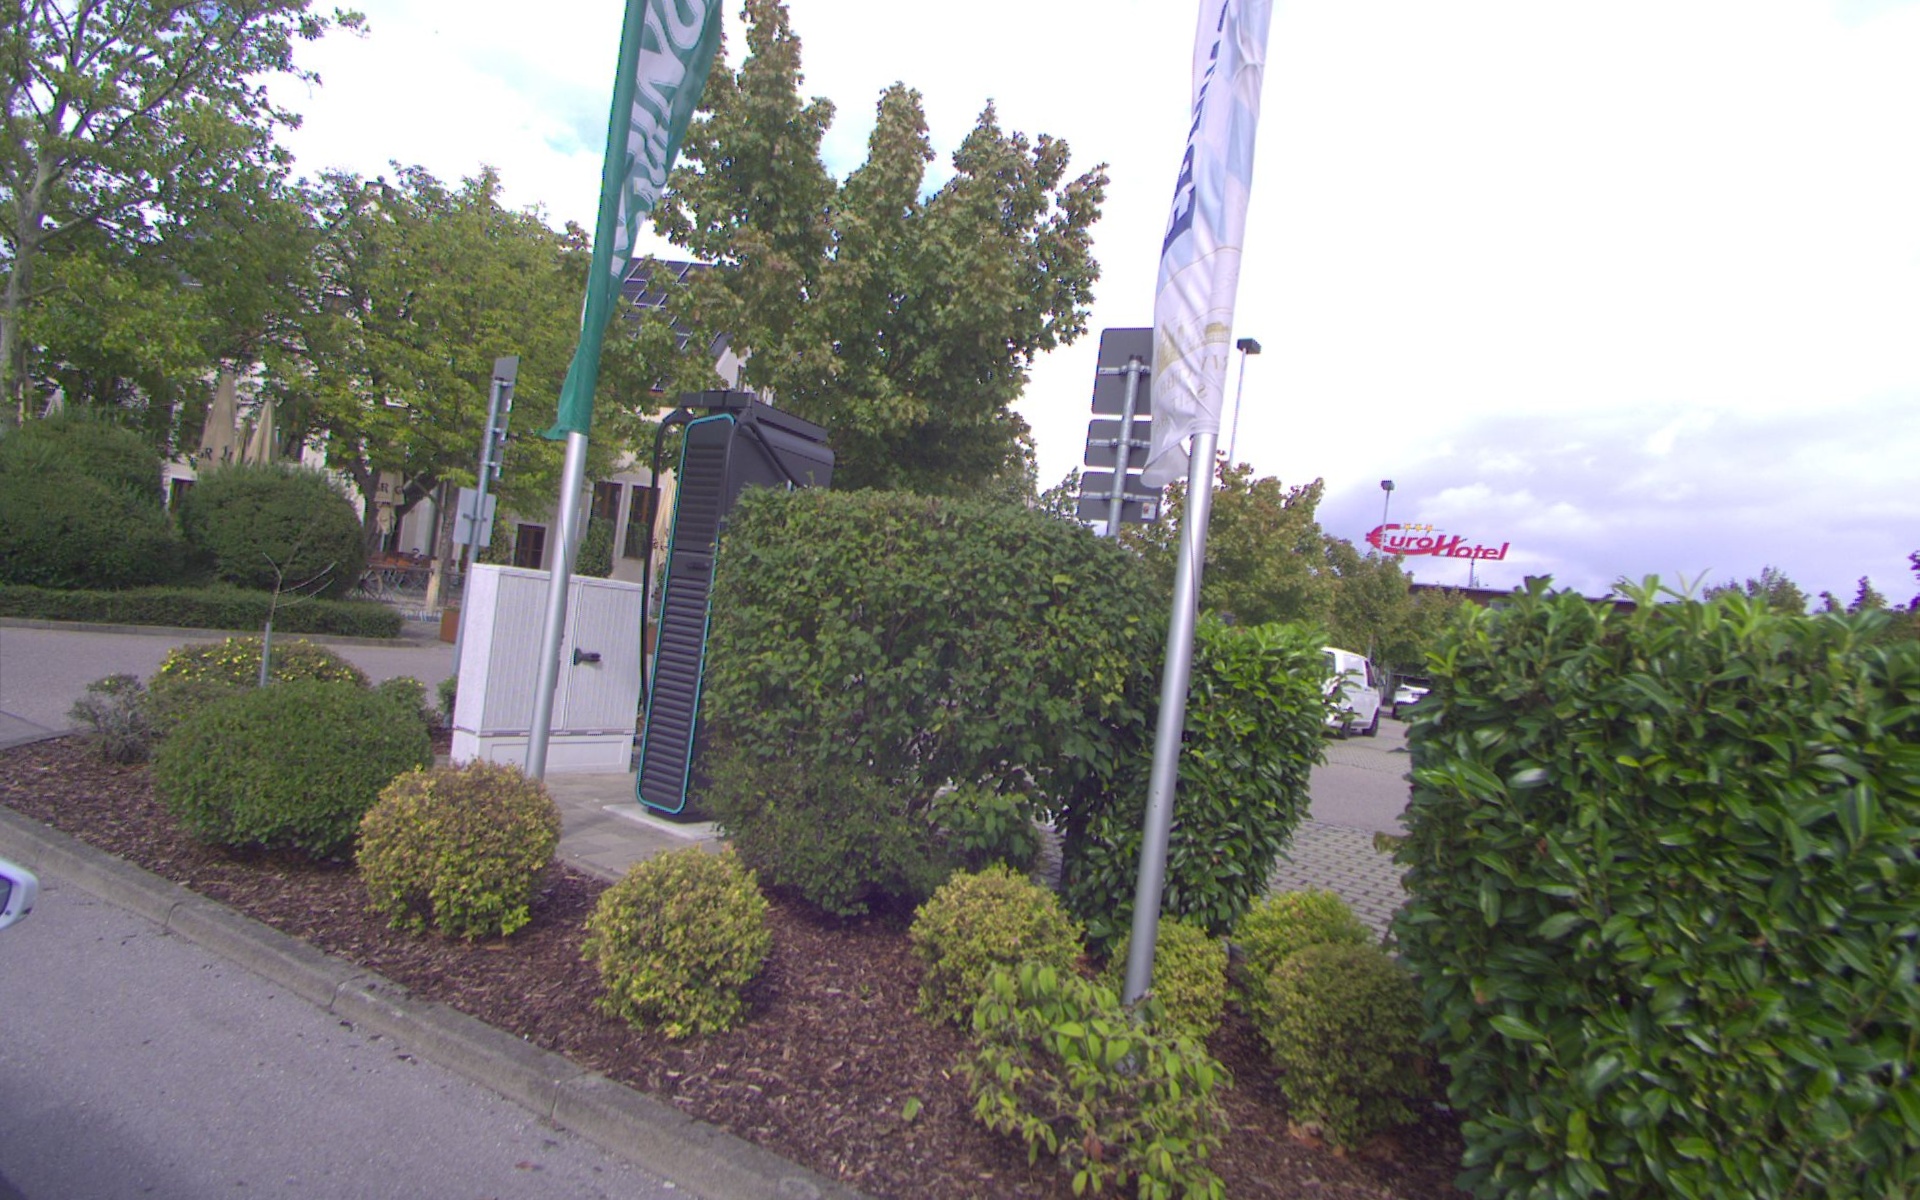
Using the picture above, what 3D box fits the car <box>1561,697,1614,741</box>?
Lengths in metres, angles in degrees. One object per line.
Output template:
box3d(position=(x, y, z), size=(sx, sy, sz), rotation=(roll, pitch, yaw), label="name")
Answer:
box3d(position=(29.580, 5.587, 47.515), size=(1.737, 1.740, 3.997), rotation=(7, -2, 29), label="car")

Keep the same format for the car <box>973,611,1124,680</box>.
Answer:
box3d(position=(3.132, 1.617, 36.180), size=(4.996, 1.731, 1.747), rotation=(7, -1, 33), label="car")

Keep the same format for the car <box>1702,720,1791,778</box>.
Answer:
box3d(position=(24.054, 4.512, 30.868), size=(1.503, 1.390, 3.475), rotation=(7, -2, 29), label="car")

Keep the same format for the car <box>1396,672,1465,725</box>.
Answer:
box3d(position=(16.659, 3.487, 35.505), size=(1.792, 1.517, 3.843), rotation=(7, -2, 29), label="car")

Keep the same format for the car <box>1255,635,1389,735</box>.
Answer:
box3d(position=(8.317, 1.982, 22.854), size=(1.739, 1.843, 4.359), rotation=(7, -2, 33), label="car")

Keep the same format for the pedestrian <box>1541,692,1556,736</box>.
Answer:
box3d(position=(21.584, 4.183, 36.906), size=(0.283, 1.569, 0.196), rotation=(8, 0, 29), label="pedestrian")

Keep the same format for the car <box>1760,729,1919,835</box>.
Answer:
box3d(position=(15.432, 3.087, 17.606), size=(1.693, 1.361, 4.269), rotation=(7, -2, 33), label="car")

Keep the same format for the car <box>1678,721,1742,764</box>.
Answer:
box3d(position=(30.556, 5.789, 41.088), size=(1.503, 1.390, 3.475), rotation=(7, -2, 29), label="car")

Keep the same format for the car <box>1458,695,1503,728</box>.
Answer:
box3d(position=(25.646, 5.473, 49.491), size=(1.737, 1.293, 3.997), rotation=(7, -2, 29), label="car")

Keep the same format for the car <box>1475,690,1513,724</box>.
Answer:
box3d(position=(31.940, 6.391, 60.113), size=(1.737, 1.740, 3.997), rotation=(7, -2, 29), label="car")

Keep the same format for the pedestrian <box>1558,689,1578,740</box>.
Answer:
box3d(position=(21.946, 4.130, 36.306), size=(0.409, 1.745, 0.477), rotation=(8, 0, 30), label="pedestrian")

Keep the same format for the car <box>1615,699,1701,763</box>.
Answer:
box3d(position=(22.635, 4.216, 32.754), size=(1.737, 1.675, 3.997), rotation=(7, -2, 29), label="car")

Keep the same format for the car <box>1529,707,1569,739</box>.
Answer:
box3d(position=(34.404, 7.176, 58.854), size=(1.756, 1.562, 3.997), rotation=(7, -2, 29), label="car")
